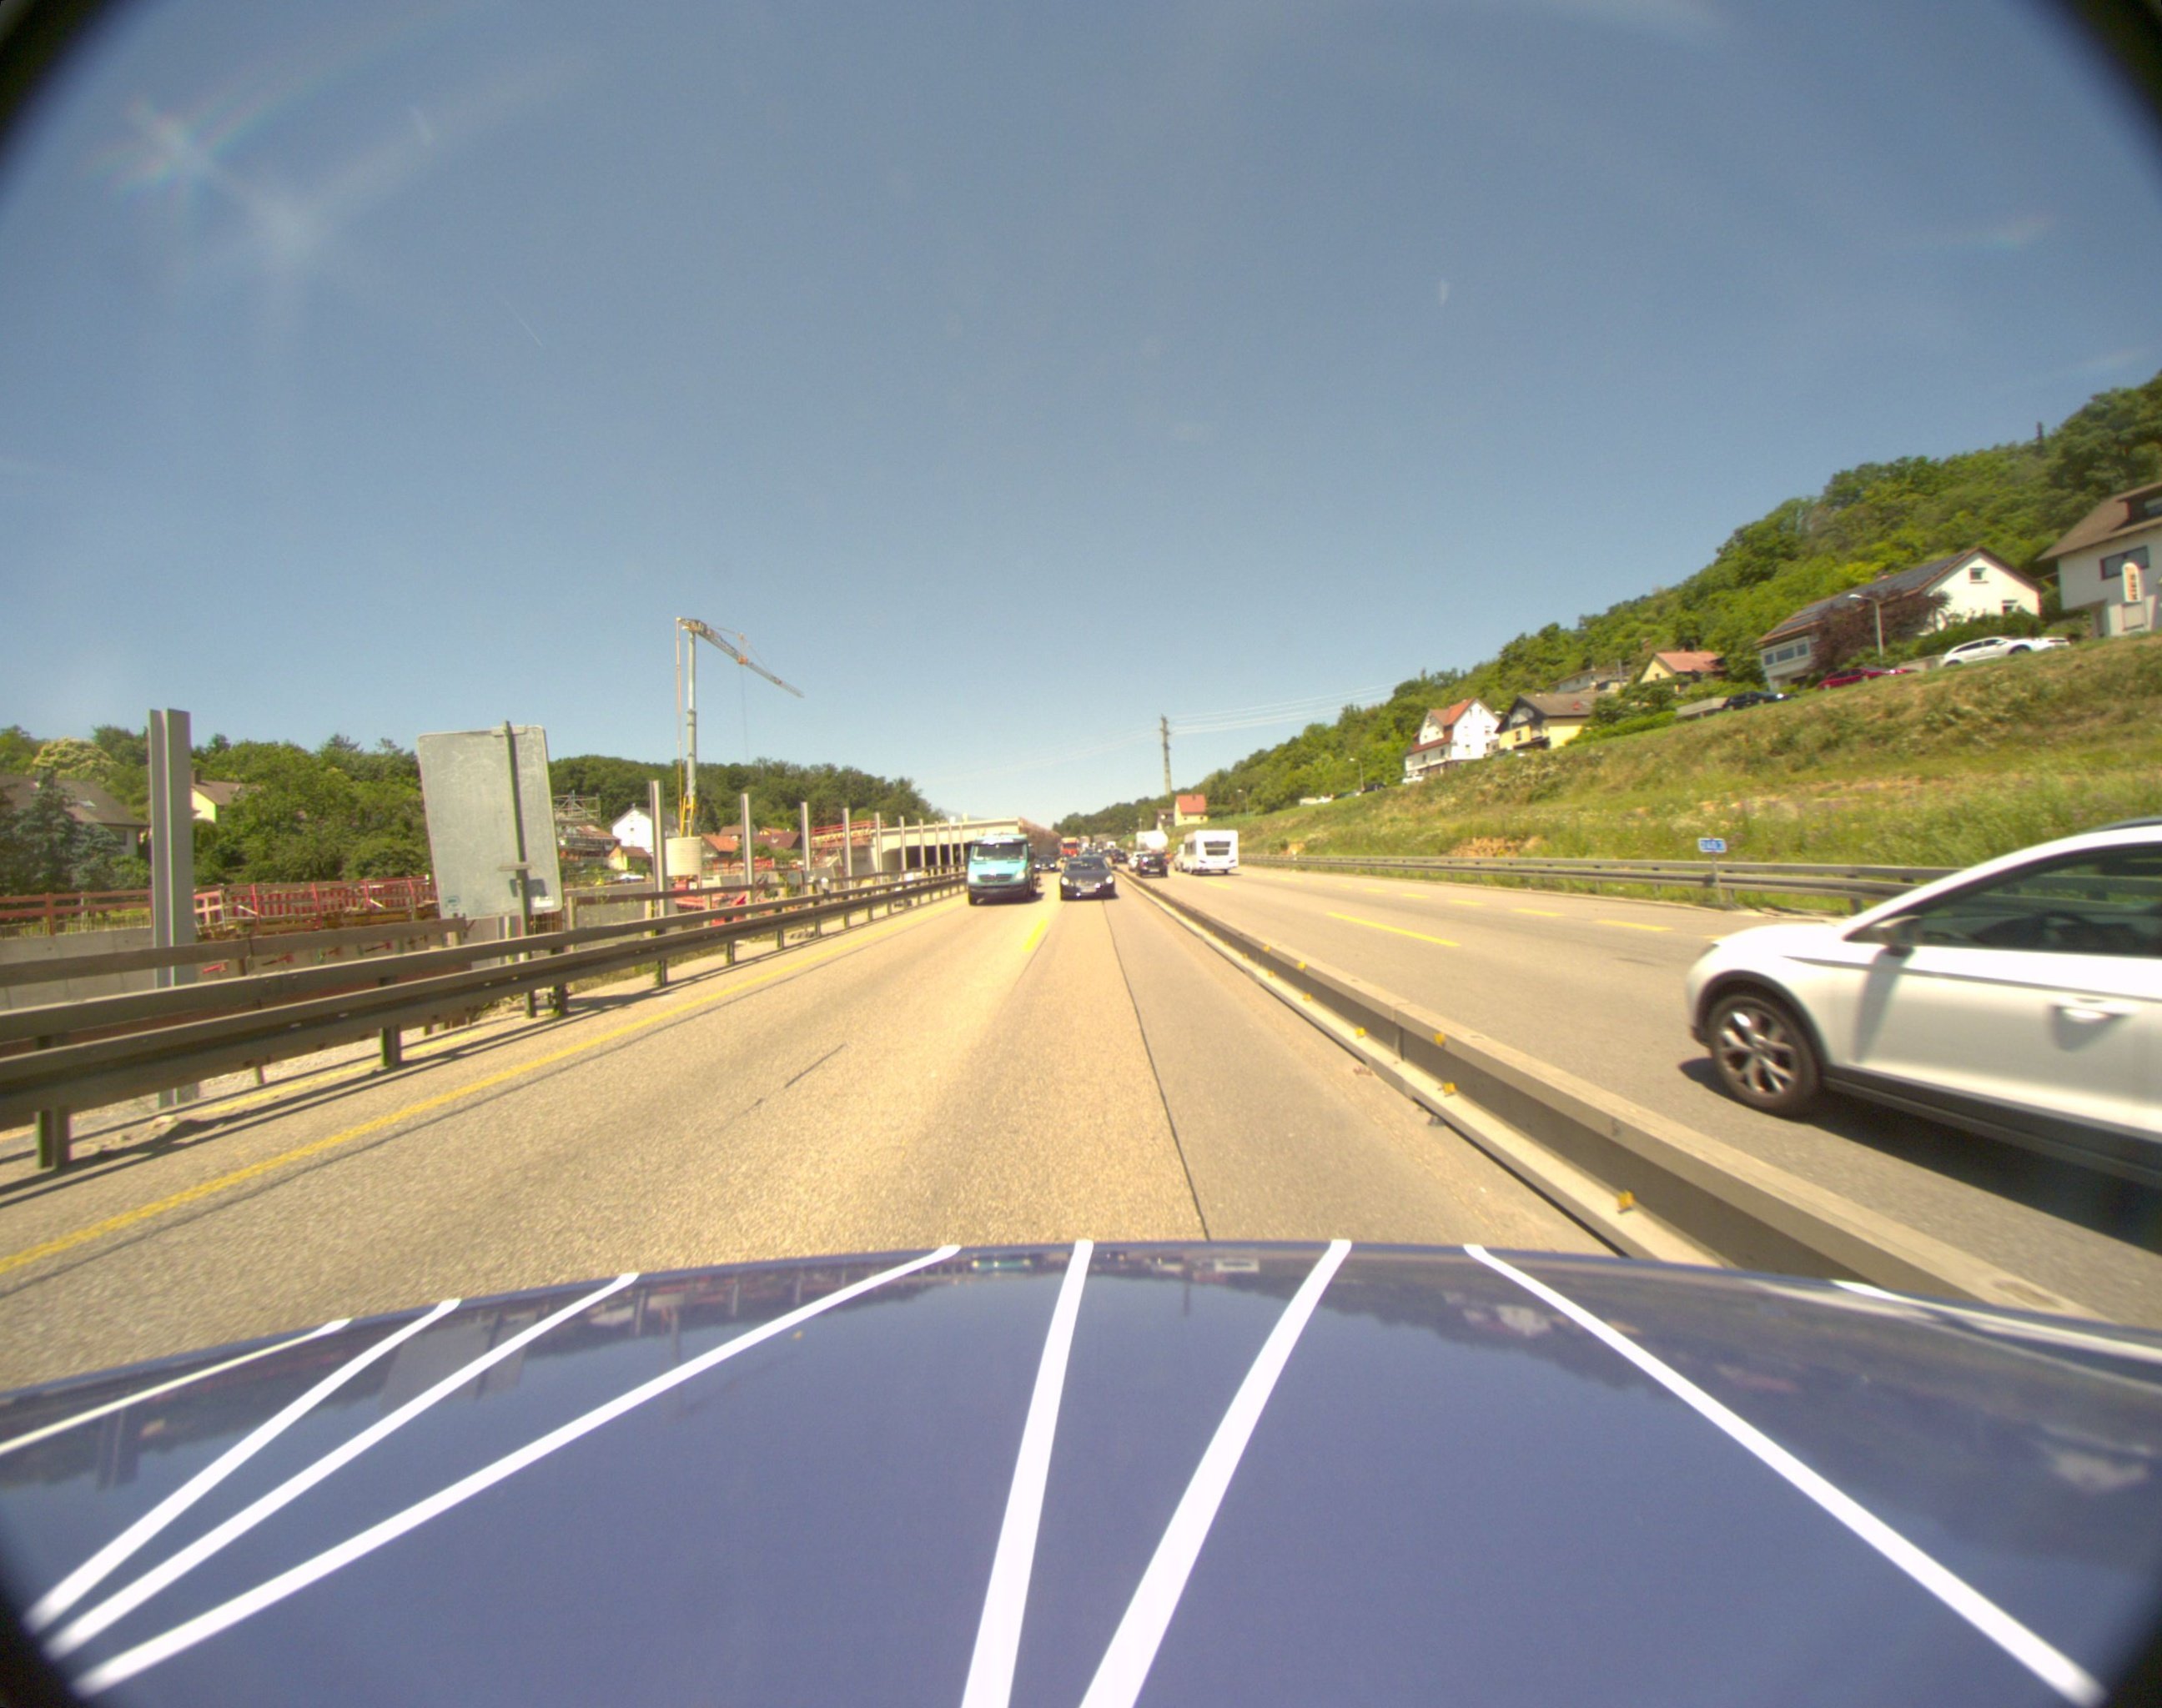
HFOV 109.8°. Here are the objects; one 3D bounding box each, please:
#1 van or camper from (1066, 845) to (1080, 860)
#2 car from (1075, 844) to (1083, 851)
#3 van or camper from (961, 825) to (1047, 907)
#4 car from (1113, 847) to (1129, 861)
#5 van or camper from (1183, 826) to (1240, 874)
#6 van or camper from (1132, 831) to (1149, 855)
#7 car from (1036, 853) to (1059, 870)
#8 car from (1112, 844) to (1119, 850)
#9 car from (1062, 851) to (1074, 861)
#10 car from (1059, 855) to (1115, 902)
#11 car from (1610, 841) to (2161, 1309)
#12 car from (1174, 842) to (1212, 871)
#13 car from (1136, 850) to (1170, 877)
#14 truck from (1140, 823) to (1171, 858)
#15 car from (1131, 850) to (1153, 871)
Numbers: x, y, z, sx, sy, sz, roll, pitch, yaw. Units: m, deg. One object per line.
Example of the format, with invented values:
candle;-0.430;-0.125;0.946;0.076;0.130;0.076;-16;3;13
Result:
van or camper;-1.466;-0.336;136.920;2.321;2.513;4.527;-4;1;1
car;-0.488;-1.475;175.209;1.679;1.346;3.486;-4;0;1
van or camper;-2.555;0.337;27.352;2.097;2.458;7.670;-2;0;1
car;4.671;0.038;88.453;1.601;1.499;3.161;-4;1;1
van or camper;7.654;-0.247;45.181;2.382;2.634;6.051;-2;1;1
van or camper;7.163;-1.346;91.757;1.566;2.745;5.181;-4;1;1
car;-2.756;0.626;63.341;1.611;1.324;3.496;-2;1;1
car;10.174;-2.133;222.068;1.780;1.740;3.708;-2;1;1
car;-1.965;0.330;119.491;1.679;1.346;3.486;-4;0;1
car;0.227;0.786;26.045;1.746;1.420;4.000;-1;1;1
car;4.333;0.713;2.760;1.677;1.468;4.540;-2;0;1
car;7.668;0.158;52.414;1.998;1.809;3.665;-4;1;1
car;4.040;0.509;43.044;1.660;1.420;3.175;-1;1;1
truck;7.926;-1.395;81.632;2.385;3.412;9.305;-4;0;1
car;4.386;0.426;55.147;1.369;1.420;3.175;-2;1;1
